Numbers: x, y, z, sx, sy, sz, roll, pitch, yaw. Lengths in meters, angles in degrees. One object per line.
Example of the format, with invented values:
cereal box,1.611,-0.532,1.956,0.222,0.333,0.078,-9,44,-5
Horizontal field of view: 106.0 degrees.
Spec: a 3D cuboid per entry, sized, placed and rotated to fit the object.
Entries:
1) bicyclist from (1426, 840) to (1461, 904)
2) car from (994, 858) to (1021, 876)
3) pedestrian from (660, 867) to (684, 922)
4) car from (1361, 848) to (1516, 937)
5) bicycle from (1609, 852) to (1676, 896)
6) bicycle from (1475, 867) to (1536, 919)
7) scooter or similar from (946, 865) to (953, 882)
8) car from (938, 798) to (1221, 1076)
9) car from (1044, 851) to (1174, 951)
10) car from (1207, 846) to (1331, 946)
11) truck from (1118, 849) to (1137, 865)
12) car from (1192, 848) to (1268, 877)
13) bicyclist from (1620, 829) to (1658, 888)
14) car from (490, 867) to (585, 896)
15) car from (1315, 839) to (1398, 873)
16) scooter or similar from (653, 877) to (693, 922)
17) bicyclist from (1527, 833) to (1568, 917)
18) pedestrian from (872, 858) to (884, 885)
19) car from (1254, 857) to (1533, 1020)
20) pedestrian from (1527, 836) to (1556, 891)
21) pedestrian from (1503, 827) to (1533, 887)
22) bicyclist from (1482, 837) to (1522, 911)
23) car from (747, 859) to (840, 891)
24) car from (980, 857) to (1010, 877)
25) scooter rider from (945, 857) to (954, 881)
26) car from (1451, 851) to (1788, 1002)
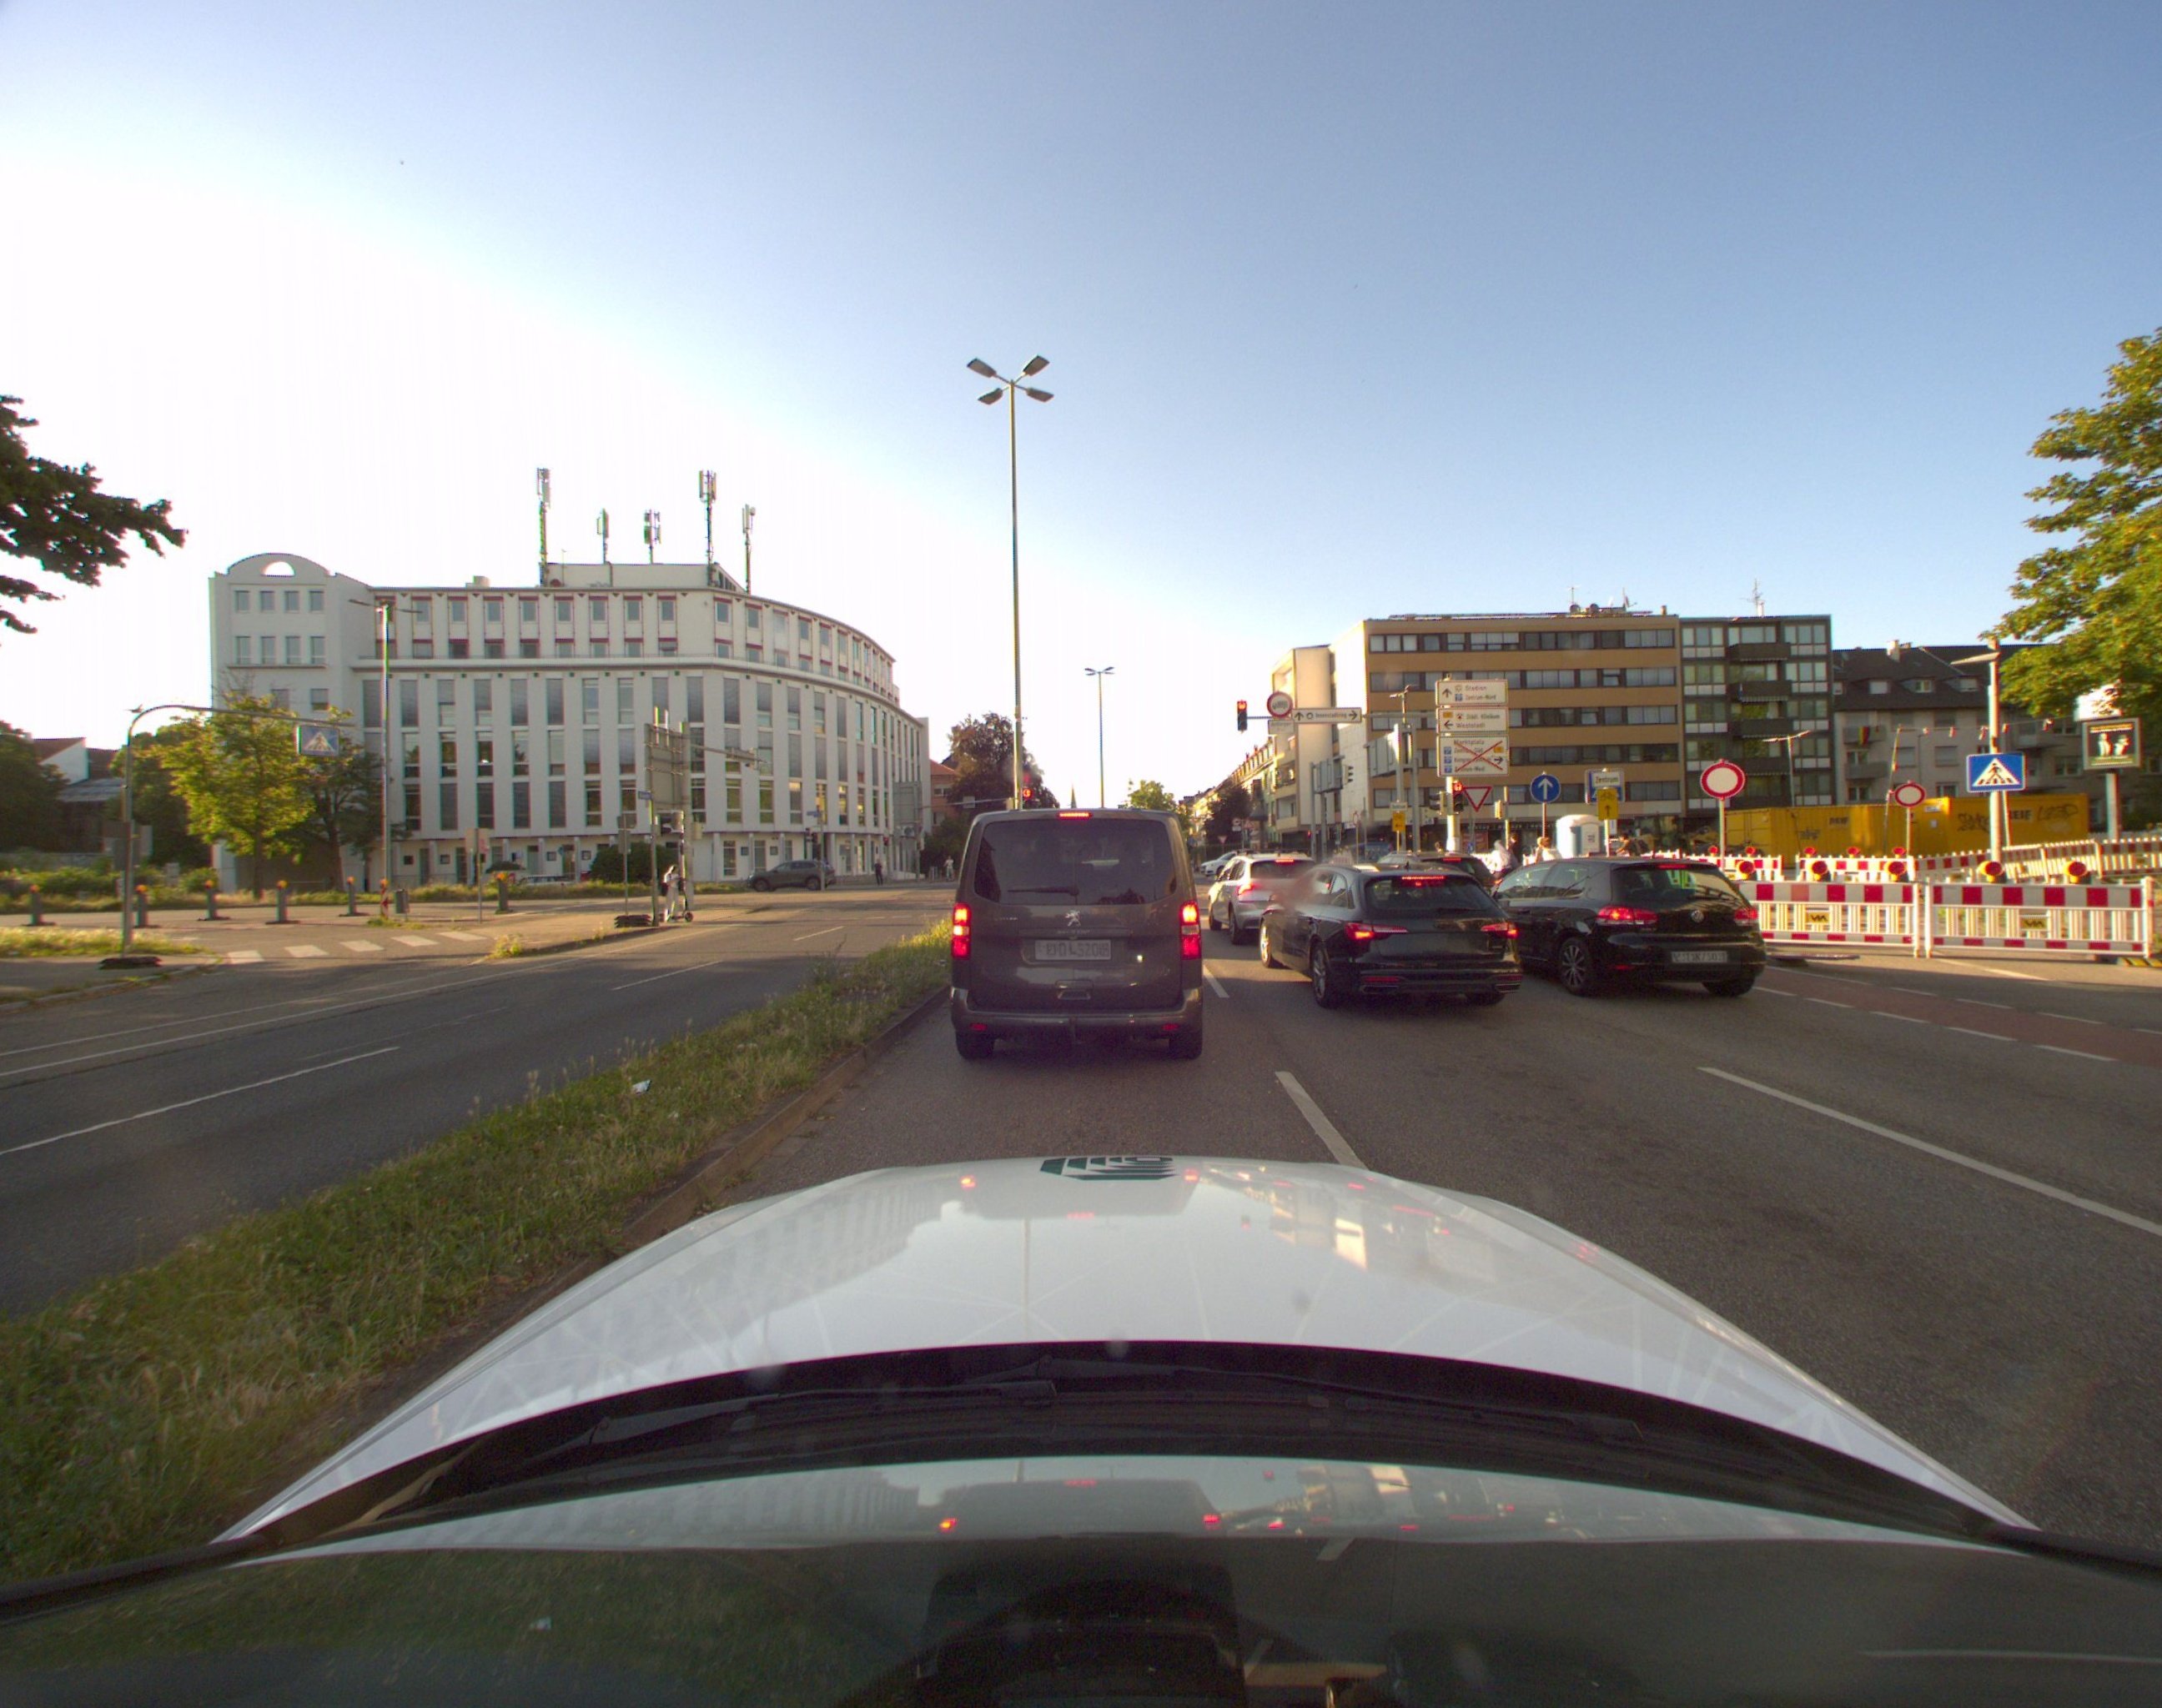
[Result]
bicyclist,8.977,0.439,20.192,0.511,1.525,0.725,-2,0,1
car,-6.140,1.088,68.355,1.850,1.420,4.000,-2,0,0
pedestrian,-11.558,1.136,23.020,0.474,1.505,0.334,-2,0,-10
car,6.569,0.645,15.322,1.499,1.449,3.306,-2,0,2
bicycle,15.315,0.535,22.230,1.480,1.161,0.376,0,1,39
bicycle,8.912,0.791,17.172,0.335,1.008,1.856,-2,0,2
scooter or similar,-9.465,1.402,58.710,0.284,1.189,1.169,-2,0,2
car,0.060,0.562,7.744,1.900,1.863,4.528,0,0,2
car,0.502,0.741,14.806,1.986,1.530,4.002,-2,0,2
car,3.316,0.681,15.006,1.523,1.613,3.746,0,0,2
truck,6.487,0.405,113.385,2.115,2.087,4.642,-2,0,9
car,8.193,0.459,44.836,3.686,1.387,1.685,-3,0,-20
bicyclist,15.261,0.121,22.274,0.804,1.589,0.623,0,1,40
car,-30.174,1.502,45.318,3.979,1.420,1.785,-2,0,-4
car,16.153,0.118,47.823,4.219,1.817,1.992,-2,0,-13
scooter or similar,-11.466,1.273,22.883,0.893,1.234,0.370,-2,0,-10
bicyclist,8.643,0.383,15.103,0.439,1.525,0.482,-2,0,1
pedestrian,-12.819,1.098,51.440,0.626,1.722,0.668,-2,0,-12
car,3.194,0.752,9.276,1.675,1.421,4.215,0,0,2
pedestrian,14.268,0.292,25.250,0.603,1.671,0.452,-2,0,-15
pedestrian,13.468,0.093,25.106,0.570,1.834,0.485,-2,0,-12
bicyclist,8.911,0.406,17.256,0.439,1.525,0.725,-2,0,2
car,-15.173,1.081,43.199,4.335,1.549,1.783,-2,0,-7
car,-6.595,1.015,62.816,1.850,1.420,4.000,-2,0,0
scooter rider,-9.466,1.048,58.748,0.479,1.697,0.636,-2,0,1
car,6.030,0.697,9.707,1.627,1.449,3.746,0,0,2
